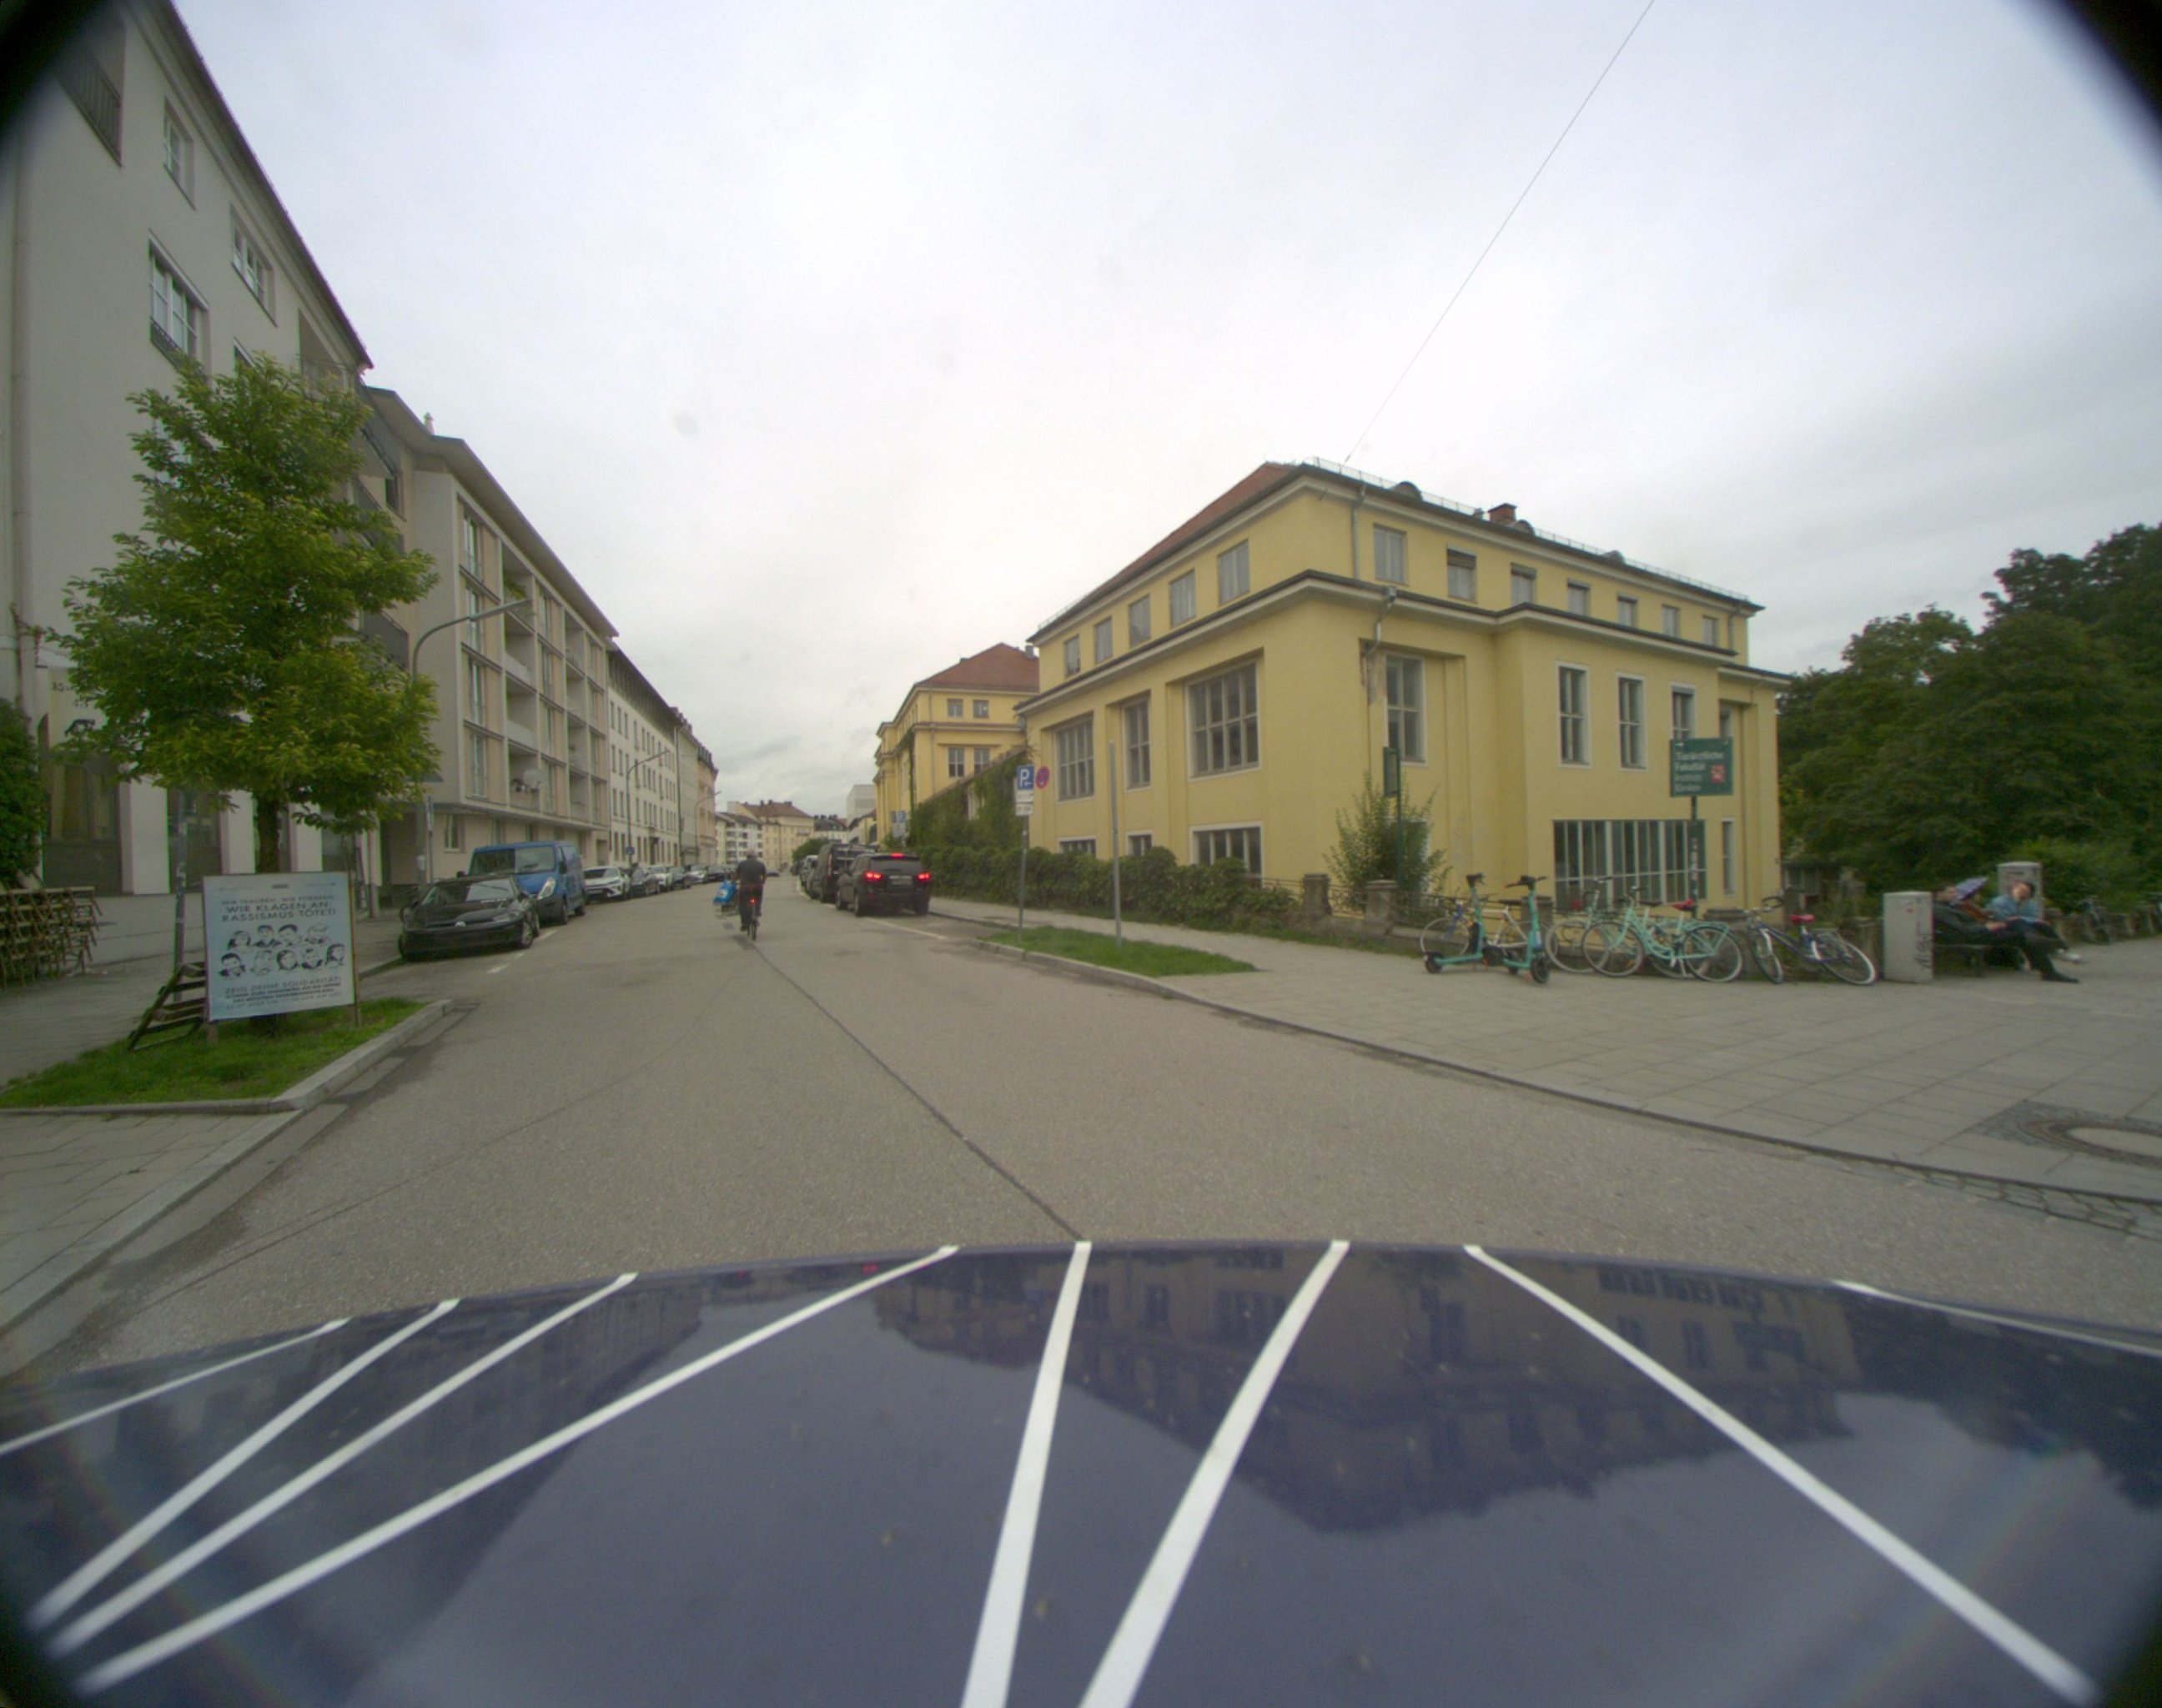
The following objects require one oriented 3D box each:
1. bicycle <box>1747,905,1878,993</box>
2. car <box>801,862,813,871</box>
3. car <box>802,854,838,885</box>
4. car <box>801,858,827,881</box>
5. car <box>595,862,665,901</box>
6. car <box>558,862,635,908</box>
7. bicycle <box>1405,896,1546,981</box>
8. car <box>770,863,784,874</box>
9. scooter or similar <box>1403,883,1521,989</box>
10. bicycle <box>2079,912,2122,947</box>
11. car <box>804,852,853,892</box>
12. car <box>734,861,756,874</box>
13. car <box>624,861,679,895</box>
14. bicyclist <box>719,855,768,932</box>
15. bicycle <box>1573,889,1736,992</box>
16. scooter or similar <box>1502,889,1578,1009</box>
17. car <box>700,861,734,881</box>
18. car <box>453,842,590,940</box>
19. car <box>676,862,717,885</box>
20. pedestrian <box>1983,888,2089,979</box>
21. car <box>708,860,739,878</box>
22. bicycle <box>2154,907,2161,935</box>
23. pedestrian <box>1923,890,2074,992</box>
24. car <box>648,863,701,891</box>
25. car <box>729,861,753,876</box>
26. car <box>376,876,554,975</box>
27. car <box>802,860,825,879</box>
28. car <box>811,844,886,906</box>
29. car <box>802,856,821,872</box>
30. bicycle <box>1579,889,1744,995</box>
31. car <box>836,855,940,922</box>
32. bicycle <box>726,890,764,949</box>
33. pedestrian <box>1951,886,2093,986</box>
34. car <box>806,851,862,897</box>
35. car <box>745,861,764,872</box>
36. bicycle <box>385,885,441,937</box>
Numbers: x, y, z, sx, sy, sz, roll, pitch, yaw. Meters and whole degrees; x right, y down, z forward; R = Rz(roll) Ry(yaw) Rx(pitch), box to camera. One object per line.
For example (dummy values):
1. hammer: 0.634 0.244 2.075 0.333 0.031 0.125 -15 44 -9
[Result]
1. bicycle: 9.068 1.166 9.415 1.655 1.032 0.307 1 1 -14
2. car: -50.099 2.254 138.946 1.773 1.521 3.994 -2 1 -17
3. car: -16.219 0.955 47.219 1.978 1.825 4.674 0 0 -19
4. car: -21.683 1.216 61.696 1.978 1.825 4.674 0 0 -20
5. car: -21.261 1.246 36.030 1.963 1.553 4.603 -5 1 -21
6. car: -19.568 1.216 30.896 1.986 1.553 4.705 -5 1 -26
7. bicycle: 5.301 1.110 10.280 1.649 0.987 0.249 2 1 38
8. car: -43.991 2.094 109.918 1.796 1.334 3.829 -3 1 -20
9. scooter or similar: 4.708 0.989 9.397 1.391 1.240 0.396 0 0 -16
10. bicycle: 20.841 1.538 15.533 0.910 0.672 0.215 1 1 -17
11. car: -12.529 0.849 37.524 1.979 1.825 4.673 0 0 -22
12. car: -41.336 1.611 93.572 1.894 1.446 4.733 -5 1 -18
13. car: -22.930 1.264 40.726 1.919 1.553 4.082 -5 1 -22
14. bicyclist: -6.539 0.738 14.756 0.843 1.449 0.743 0 0 -22
15. bicycle: 7.115 1.062 9.465 1.651 1.184 0.203 2 1 13
16. scooter or similar: 5.120 1.017 8.517 0.323 1.206 1.118 0 0 9
17. car: -31.164 1.432 65.149 1.894 1.446 4.733 -5 1 -18
18. car: -14.661 0.834 20.219 1.986 2.158 4.703 -6 3 -27
19. car: -28.390 1.378 56.221 1.894 1.446 4.733 -5 1 -18
20. pedestrian: 13.493 1.098 10.756 0.551 1.227 0.885 3 -3 -39
21. car: -33.222 1.354 70.733 1.894 1.446 4.733 -5 1 -18
22. bicycle: 27.000 1.673 18.878 0.910 0.672 0.215 1 1 -26
23. pedestrian: 12.070 1.106 10.027 0.641 1.239 1.214 3 -3 -39
24. car: -24.348 1.322 45.692 1.894 1.446 4.595 -5 1 -18
25. car: -38.840 1.658 86.897 1.894 1.446 4.733 -5 1 -18
26. car: -11.646 1.239 14.675 1.782 1.388 3.796 -6 2 -27
27. car: -25.948 1.454 73.521 1.979 1.825 4.674 0 0 -21
28. car: -8.552 0.710 27.654 1.979 2.059 4.672 0 0 -25
29. car: -31.408 1.156 88.440 1.979 1.825 4.674 0 0 -21
30. bicycle: 7.056 1.055 9.274 1.651 1.191 0.170 2 1 13
31. car: -5.628 0.888 21.714 1.939 1.698 4.616 0 0 -27
32. bicycle: -6.518 1.233 14.771 0.624 1.011 1.714 0 0 -22
33. pedestrian: 12.910 1.093 10.461 0.641 1.285 1.175 3 -3 -39
34. car: -10.745 0.827 32.894 1.979 1.825 4.673 0 0 -22
35. car: -46.488 1.788 108.250 1.894 1.446 4.733 -5 1 -18
36. bicycle: -15.164 1.256 17.301 0.488 1.046 2.177 0 0 -29
